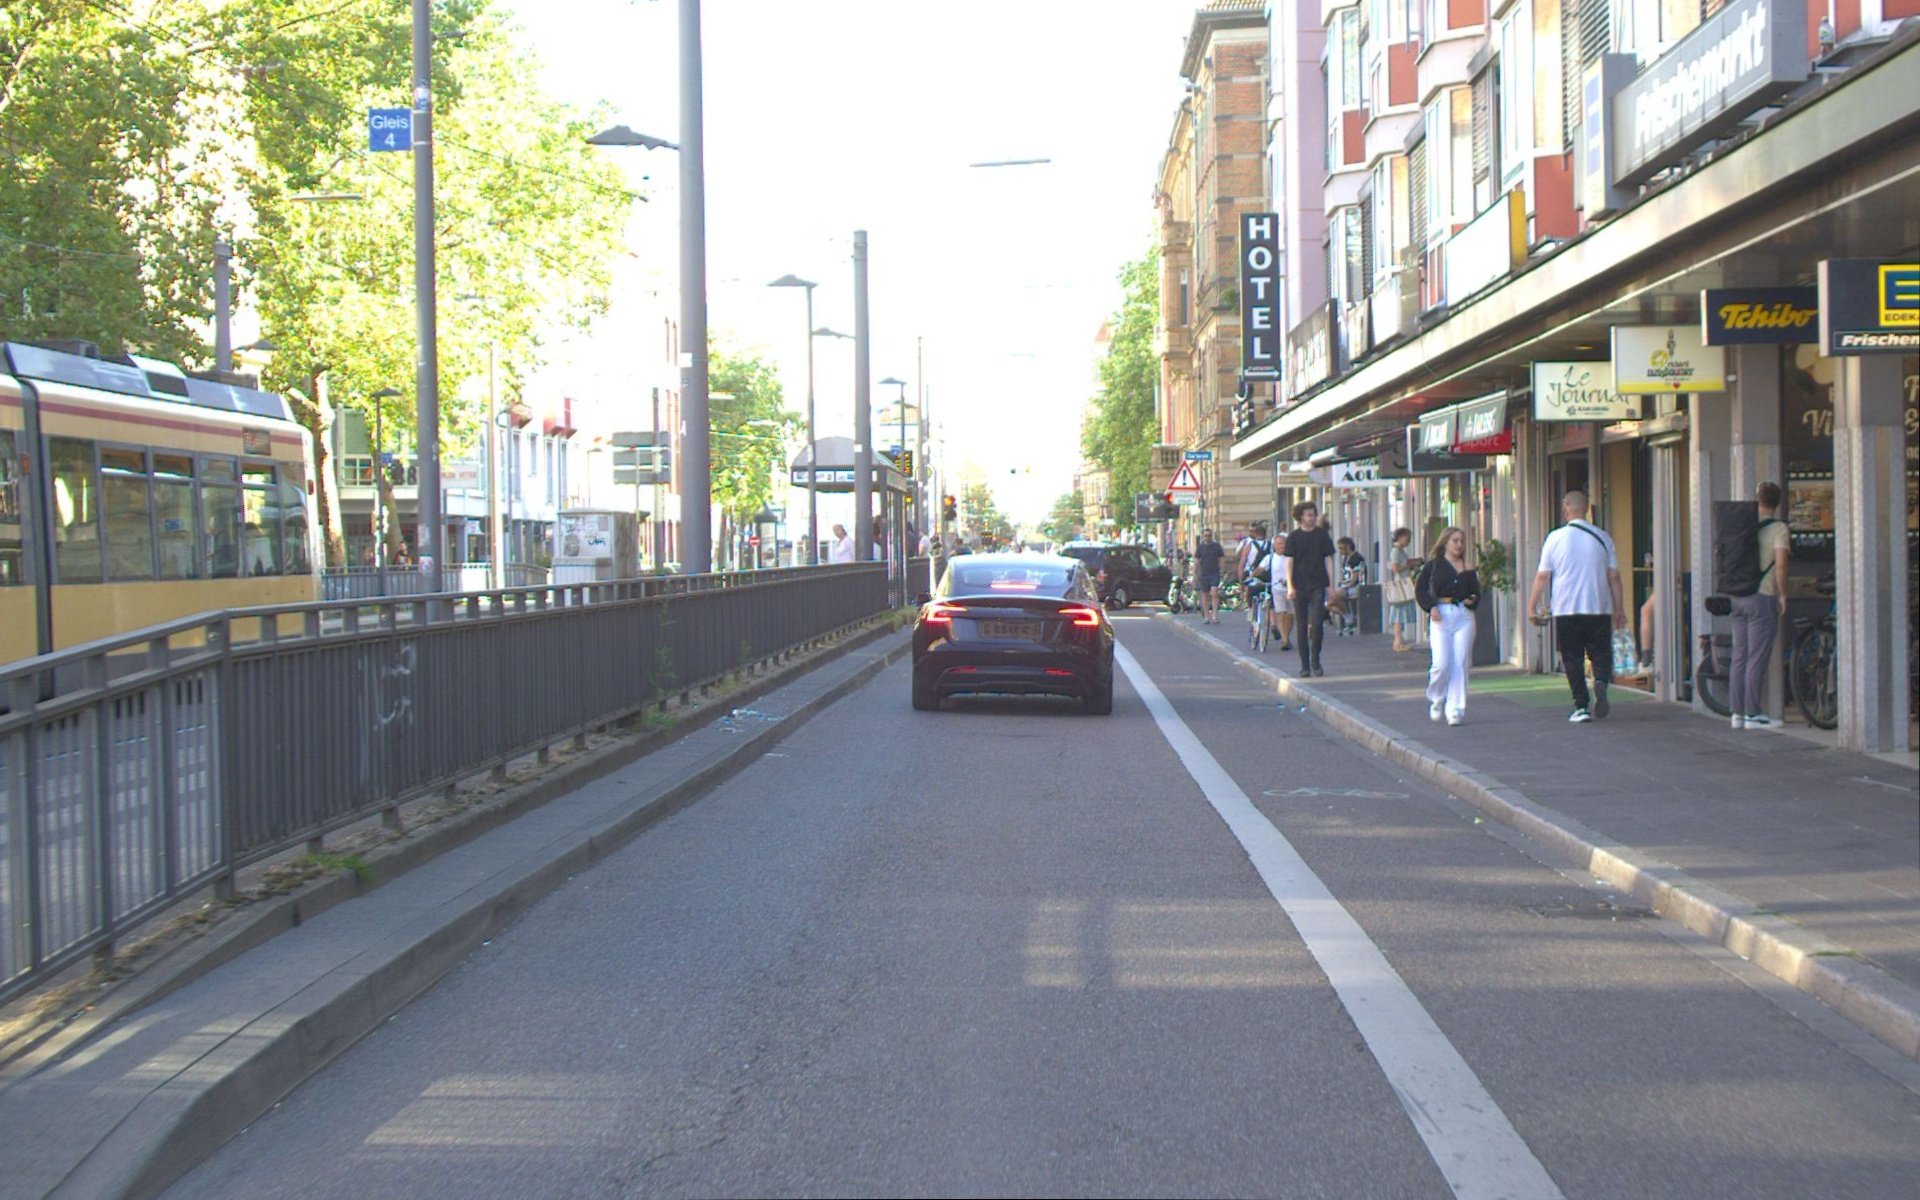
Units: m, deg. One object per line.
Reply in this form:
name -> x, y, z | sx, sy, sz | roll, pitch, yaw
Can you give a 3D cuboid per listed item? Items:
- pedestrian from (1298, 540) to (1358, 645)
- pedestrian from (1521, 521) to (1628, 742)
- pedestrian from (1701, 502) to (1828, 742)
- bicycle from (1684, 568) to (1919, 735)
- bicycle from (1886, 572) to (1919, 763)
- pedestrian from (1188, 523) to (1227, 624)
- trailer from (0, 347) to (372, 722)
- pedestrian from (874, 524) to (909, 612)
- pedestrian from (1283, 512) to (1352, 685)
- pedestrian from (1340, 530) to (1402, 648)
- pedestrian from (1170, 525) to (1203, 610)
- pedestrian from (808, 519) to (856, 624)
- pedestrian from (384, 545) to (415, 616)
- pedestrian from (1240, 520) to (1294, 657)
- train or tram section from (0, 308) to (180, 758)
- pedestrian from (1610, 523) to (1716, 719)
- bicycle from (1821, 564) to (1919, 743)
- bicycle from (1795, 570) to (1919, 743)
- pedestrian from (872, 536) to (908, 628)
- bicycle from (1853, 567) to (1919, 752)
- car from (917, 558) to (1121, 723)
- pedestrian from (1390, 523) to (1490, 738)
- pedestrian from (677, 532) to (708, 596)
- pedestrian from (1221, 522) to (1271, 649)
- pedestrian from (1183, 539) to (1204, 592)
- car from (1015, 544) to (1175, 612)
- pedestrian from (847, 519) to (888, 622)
pedestrian -> 5.641, -0.119, 52.763 | 0.842, 1.601, 0.787 | -1, 1, 2
pedestrian -> 4.728, 0.232, 26.475 | 0.696, 1.672, 0.750 | -1, 1, 2
pedestrian -> 5.689, 0.151, 24.330 | 0.747, 1.672, 0.699 | -1, 1, 2
bicycle -> 6.745, 0.376, 25.827 | 2.428, 1.213, 0.829 | -1, 1, -1
bicycle -> 7.321, 0.415, 22.250 | 2.428, 1.213, 0.796 | -1, 1, -1
pedestrian -> 4.658, -0.506, 64.772 | 0.696, 1.890, 0.750 | -1, 1, 2
trailer -> -8.654, -0.674, 37.243 | 2.713, 3.534, 9.358 | -1, 1, 1
pedestrian -> -1.373, -0.643, 69.081 | 0.678, 1.763, 0.663 | -1, 1, -1
pedestrian -> 3.950, -0.024, 38.043 | 0.696, 1.890, 0.750 | -1, 1, 2
pedestrian -> 6.187, -0.174, 51.751 | 0.842, 1.750, 0.787 | -1, 1, 2
pedestrian -> 5.096, -0.741, 77.252 | 0.696, 1.890, 0.750 | -1, 1, 2
pedestrian -> -2.173, -0.489, 58.274 | 0.757, 1.763, 0.699 | -1, 1, 1
pedestrian -> -15.066, -0.520, 92.391 | 0.747, 1.890, 0.699 | -1, 1, -5
pedestrian -> 4.296, -0.167, 48.094 | 0.696, 1.890, 0.750 | -1, 1, 2
train or tram section -> -8.892, -0.524, 27.526 | 2.713, 3.534, 10.169 | -1, 1, 1
pedestrian -> 6.001, 0.175, 29.377 | 0.737, 1.647, 0.718 | -1, 1, 0
bicycle -> 7.309, 0.353, 23.918 | 2.428, 1.213, 0.796 | -1, 1, -1
bicycle -> 7.332, 0.391, 24.761 | 2.428, 1.213, 0.796 | -1, 1, -1
pedestrian -> -1.347, -0.353, 66.380 | 0.678, 1.763, 0.663 | -1, 1, -1
bicycle -> 7.319, 0.381, 23.081 | 2.428, 1.213, 0.796 | -1, 1, -1
car -> 0.592, 0.363, 32.375 | 1.790, 1.446, 3.939 | 1, 0, 2
pedestrian -> 3.801, 0.231, 27.242 | 0.696, 1.672, 0.750 | -1, 1, 2
pedestrian -> -7.963, -1.065, 102.441 | 0.747, 1.890, 0.698 | -1, 1, 8
pedestrian -> 4.298, -0.225, 51.722 | 0.696, 1.890, 0.750 | -1, 1, 2
pedestrian -> 8.210, -1.219, 121.010 | 0.696, 1.872, 0.750 | -1, 1, 3
car -> 3.381, -0.558, 86.477 | 3.696, 1.659, 1.743 | -1, 1, -10
pedestrian -> -1.603, -0.516, 59.789 | 0.678, 1.763, 0.663 | -1, 1, -1
